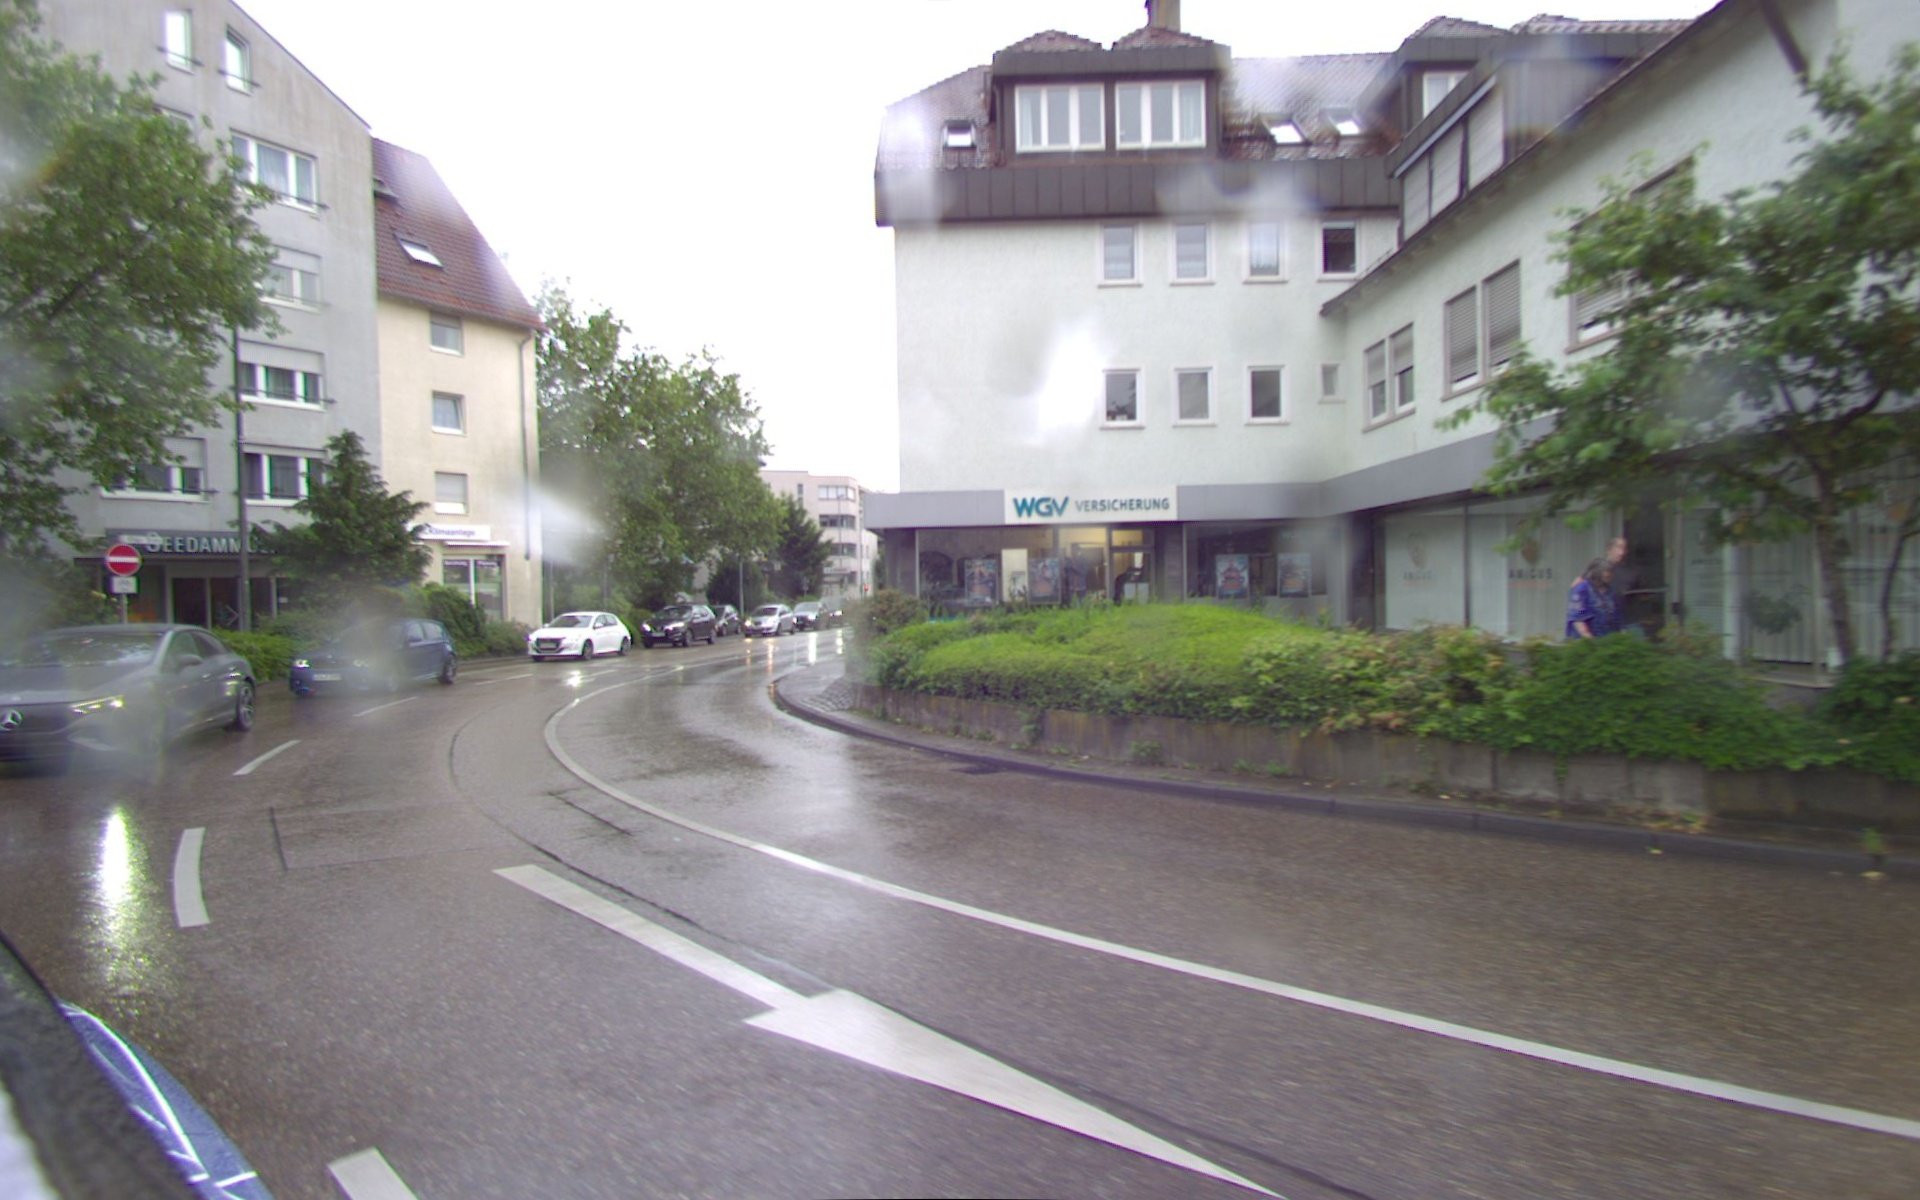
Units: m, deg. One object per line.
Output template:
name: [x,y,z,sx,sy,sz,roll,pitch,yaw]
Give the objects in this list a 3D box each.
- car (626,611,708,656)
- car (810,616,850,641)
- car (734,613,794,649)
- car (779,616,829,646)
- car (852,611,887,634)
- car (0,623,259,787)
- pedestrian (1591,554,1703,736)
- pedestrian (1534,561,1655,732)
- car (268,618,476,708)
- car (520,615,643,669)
car: [-11.138,1.248,38.730,1.790,1.577,3.997,-3,-1,2]
car: [-8.288,1.814,64.791,1.830,1.489,3.996,-2,-1,4]
car: [-9.697,1.518,50.275,1.823,1.633,3.993,-2,-1,6]
car: [-8.805,1.736,57.521,1.811,1.564,3.993,-3,-1,6]
car: [-6.563,1.662,73.572,1.973,1.564,3.997,-3,-2,2]
car: [-9.942,1.052,11.585,1.966,1.504,4.327,-1,-1,-18]
pedestrian: [7.225,0.457,10.673,0.608,1.833,0.674,-2,-1,-5]
pedestrian: [6.602,0.471,10.571,0.608,1.684,0.864,-2,-1,-5]
car: [-11.651,1.172,20.430,1.749,1.544,4.379,-2,-1,-2]
car: [-11.849,1.270,32.011,1.976,1.464,3.991,-2,0,8]
